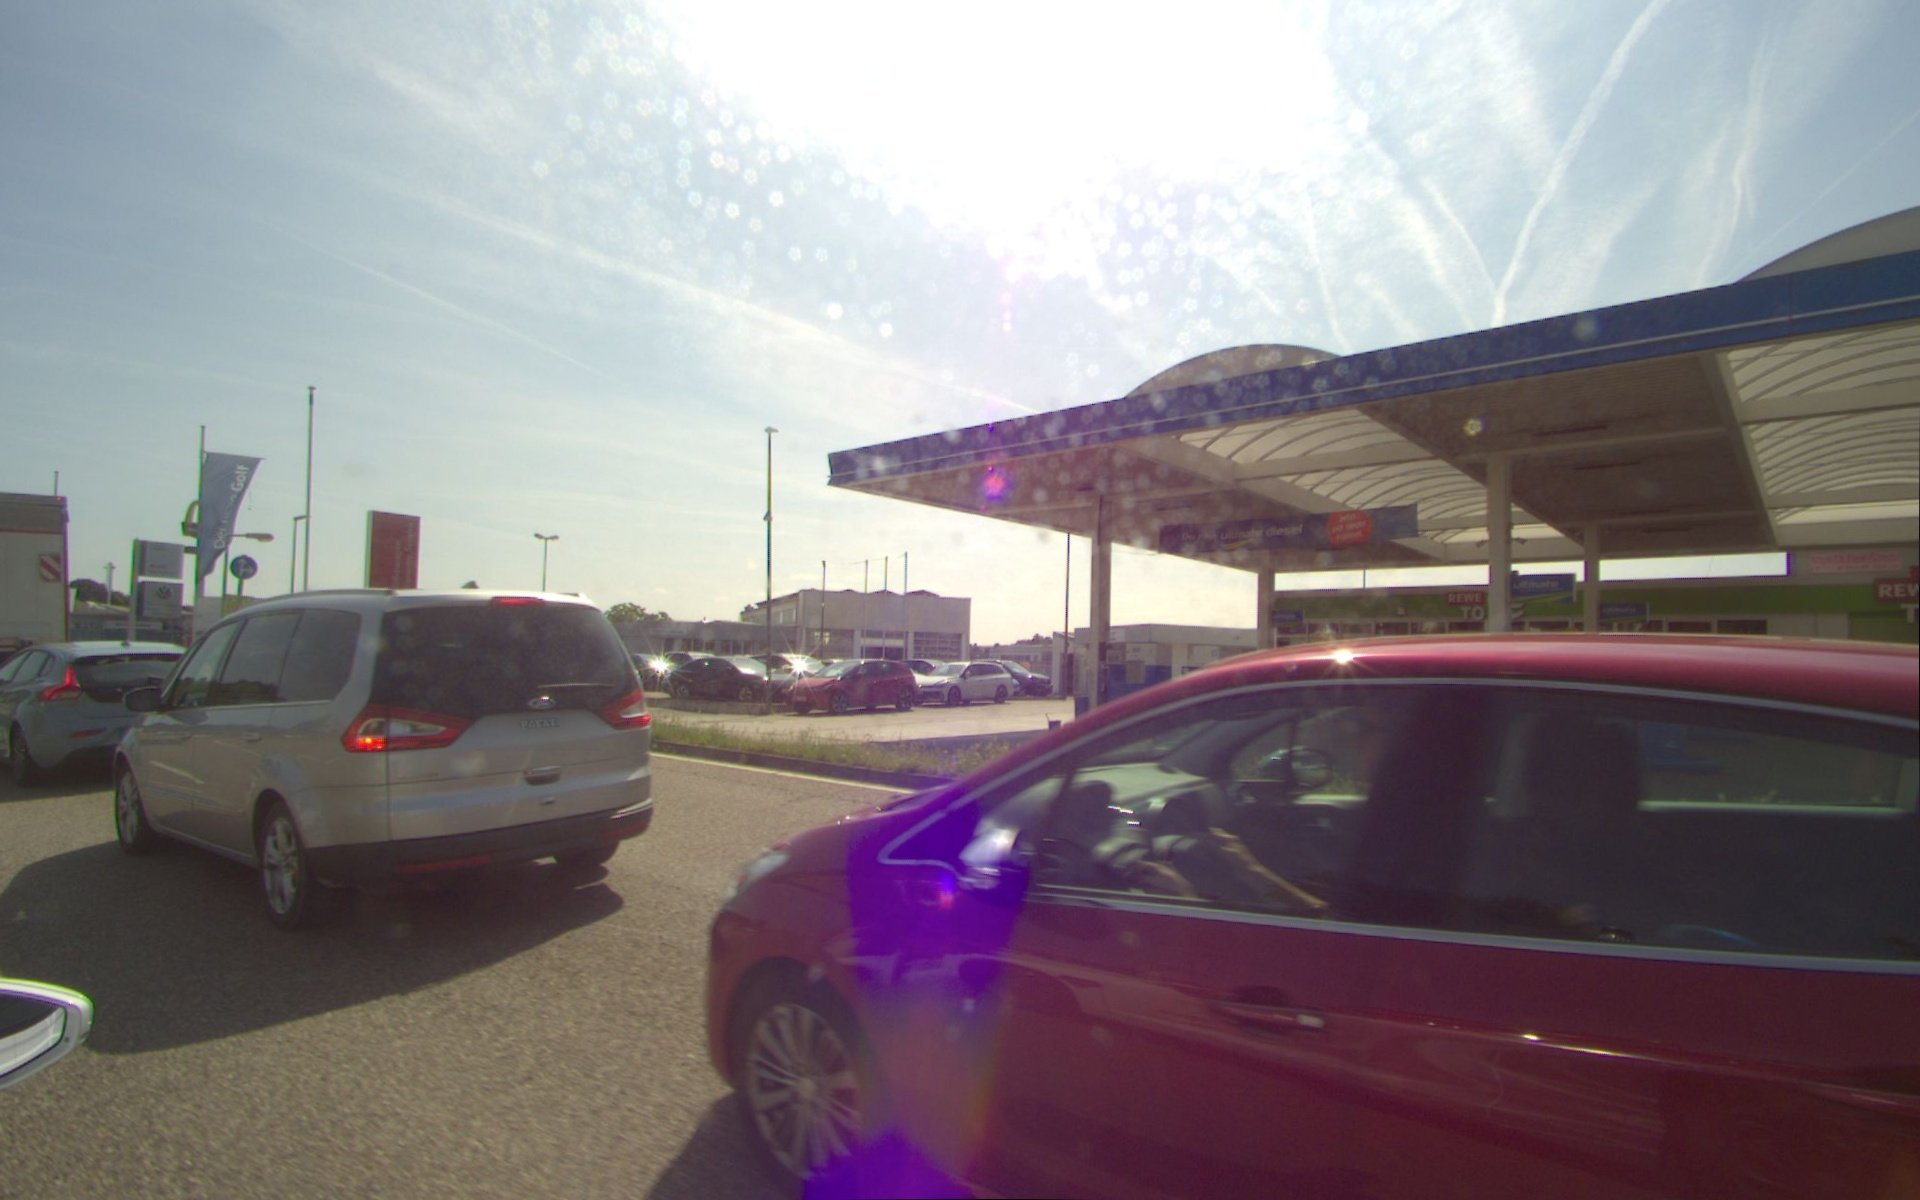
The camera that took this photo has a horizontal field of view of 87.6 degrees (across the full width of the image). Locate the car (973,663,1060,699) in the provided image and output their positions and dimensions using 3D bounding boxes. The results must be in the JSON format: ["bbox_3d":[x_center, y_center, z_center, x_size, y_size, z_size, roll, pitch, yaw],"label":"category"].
[{"bbox_3d":[2.430,3.477,43.375,3.550,1.427,1.553,-1,-2,37],"label":"car"}]

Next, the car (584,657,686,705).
[{"bbox_3d":[-11.016,2.704,33.851,3.550,1.427,1.553,-1,-2,37],"label":"car"}]

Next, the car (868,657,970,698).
[{"bbox_3d":[-1.646,3.036,39.613,3.811,1.461,1.702,-1,-2,37],"label":"car"}]

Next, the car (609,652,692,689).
[{"bbox_3d":[-13.038,2.954,42.154,3.548,1.427,1.554,-1,-2,36],"label":"car"}]

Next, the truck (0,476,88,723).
[{"bbox_3d":[-19.668,0.051,18.714,11.000,3.859,2.870,-1,-3,37],"label":"truck"}]

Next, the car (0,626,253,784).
[{"bbox_3d":[-9.665,1.050,11.167,4.172,1.446,1.730,-1,-4,38],"label":"car"}]

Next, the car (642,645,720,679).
[{"bbox_3d":[-12.666,2.764,45.368,3.642,1.427,1.553,-1,-2,37],"label":"car"}]

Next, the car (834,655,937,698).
[{"bbox_3d":[-2.841,2.865,37.949,3.811,1.461,1.608,-1,-2,37],"label":"car"}]

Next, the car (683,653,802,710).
[{"bbox_3d":[-6.901,2.518,31.630,3.811,1.615,1.608,-1,-2,37],"label":"car"}]

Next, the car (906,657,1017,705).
[{"bbox_3d":[0.126,2.744,34.263,1.543,1.513,4.317,-1,-4,37],"label":"car"}]

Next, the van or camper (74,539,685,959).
[{"bbox_3d":[-4.100,0.734,6.611,5.070,1.809,1.741,-1,-4,39],"label":"van or camper"}]

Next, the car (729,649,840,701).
[{"bbox_3d":[-5.972,2.490,33.870,3.811,1.615,1.553,-1,-2,37],"label":"car"}]

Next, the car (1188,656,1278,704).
[{"bbox_3d":[10.219,2.956,37.314,1.734,1.658,3.971,-1,-4,40],"label":"car"}]

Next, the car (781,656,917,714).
[{"bbox_3d":[-3.250,2.487,29.875,1.786,1.591,3.887,-1,-3,41],"label":"car"}]

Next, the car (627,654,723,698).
[{"bbox_3d":[-10.344,2.710,36.282,3.550,1.445,1.553,-1,-2,37],"label":"car"}]

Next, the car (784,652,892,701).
[{"bbox_3d":[-4.410,2.697,35.931,3.811,1.615,1.608,-1,-2,37],"label":"car"}]

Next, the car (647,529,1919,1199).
[{"bbox_3d":[1.024,0.749,2.511,3.670,1.592,1.793,-1,-2,40],"label":"car"}]
